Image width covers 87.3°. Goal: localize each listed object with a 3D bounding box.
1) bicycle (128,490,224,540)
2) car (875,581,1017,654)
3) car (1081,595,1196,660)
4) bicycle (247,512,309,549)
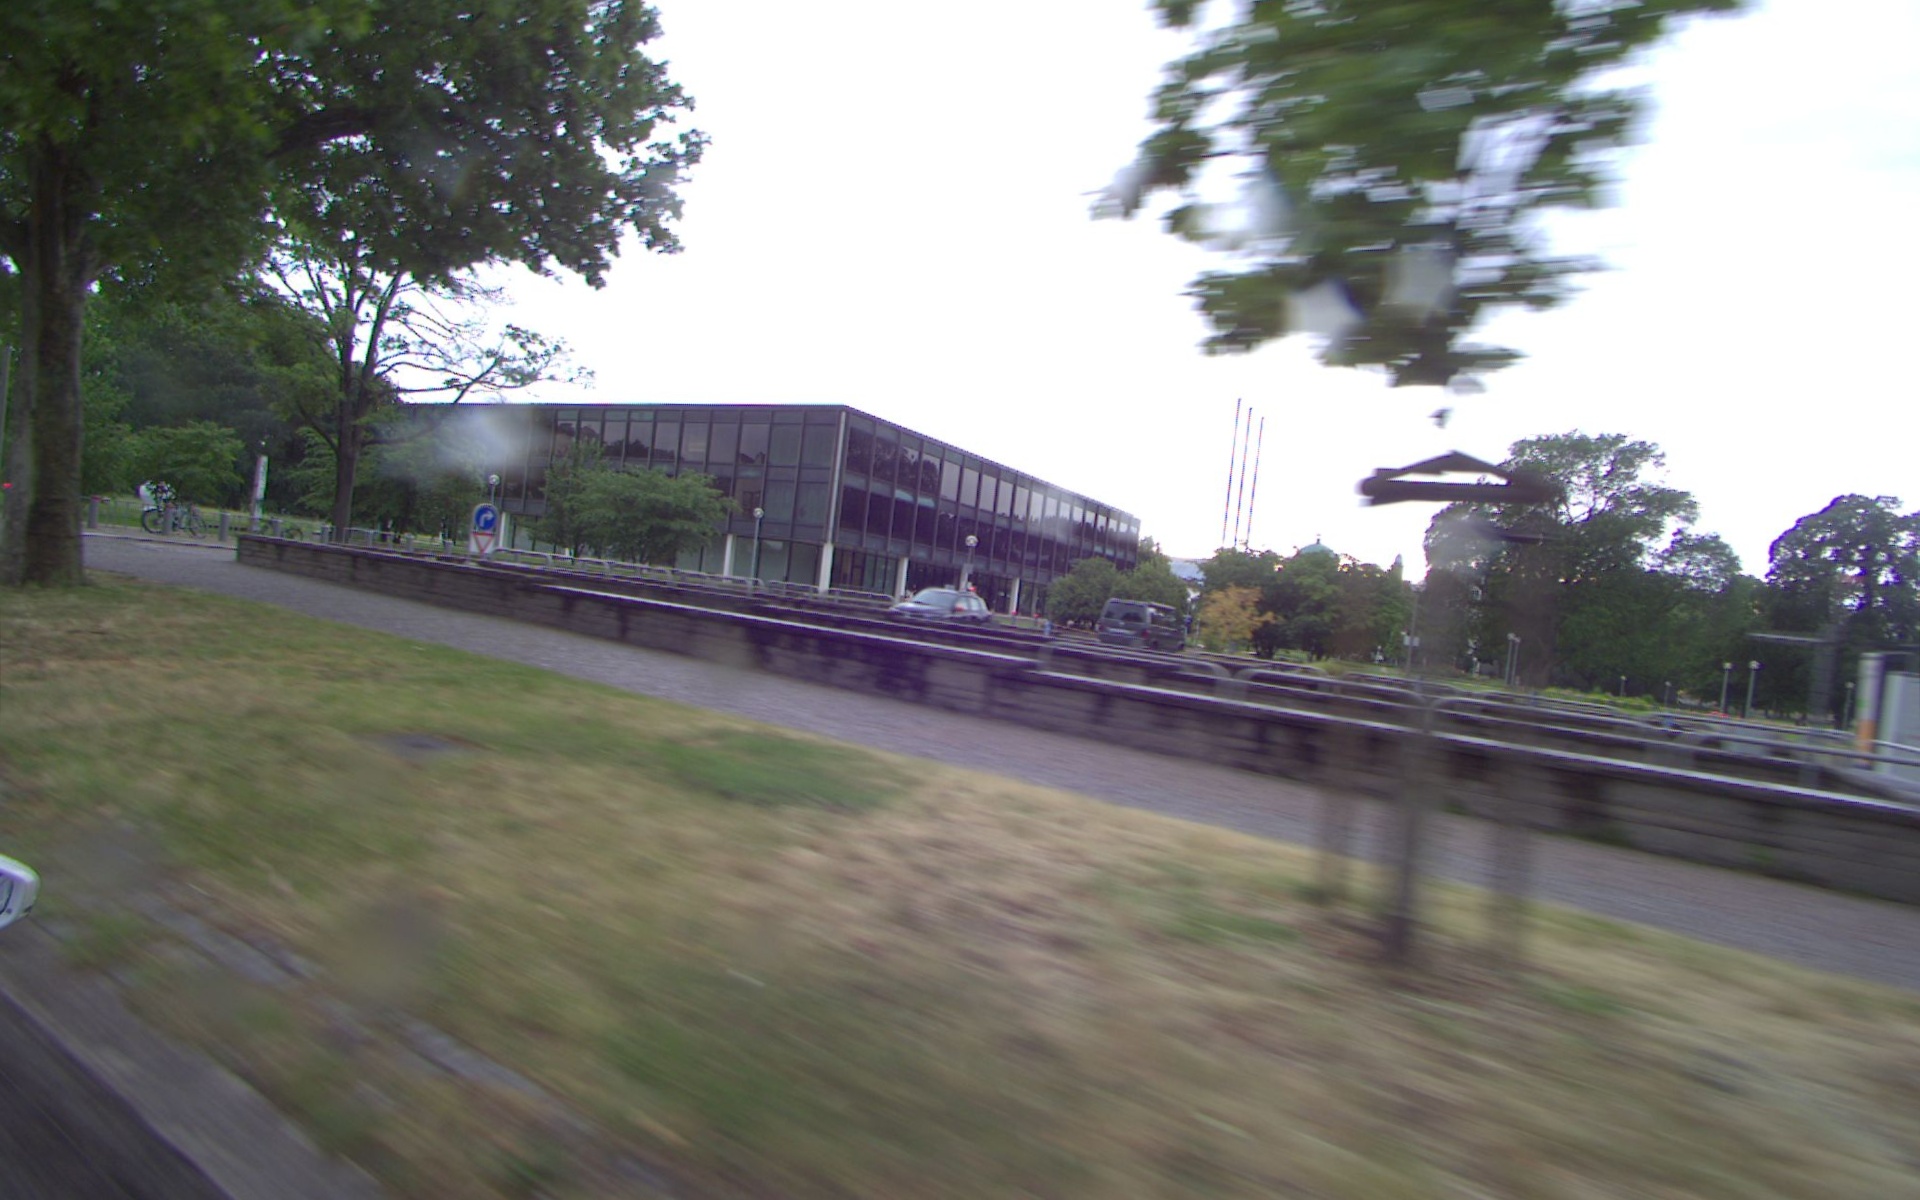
[{"bbox_3d":[-23.958,-2.575,30.783,0.942,1.188,2.040,8,1,22],"label":"bicycle"},{"bbox_3d":[-0.287,0.485,26.388,1.630,1.621,3.986,7,2,33],"label":"car"},{"bbox_3d":[6.409,1.027,35.586,2.418,1.785,5.016,7,0,28],"label":"car"},{"bbox_3d":[-24.754,-2.529,36.541,0.697,1.099,1.644,8,1,27],"label":"bicycle"}]
